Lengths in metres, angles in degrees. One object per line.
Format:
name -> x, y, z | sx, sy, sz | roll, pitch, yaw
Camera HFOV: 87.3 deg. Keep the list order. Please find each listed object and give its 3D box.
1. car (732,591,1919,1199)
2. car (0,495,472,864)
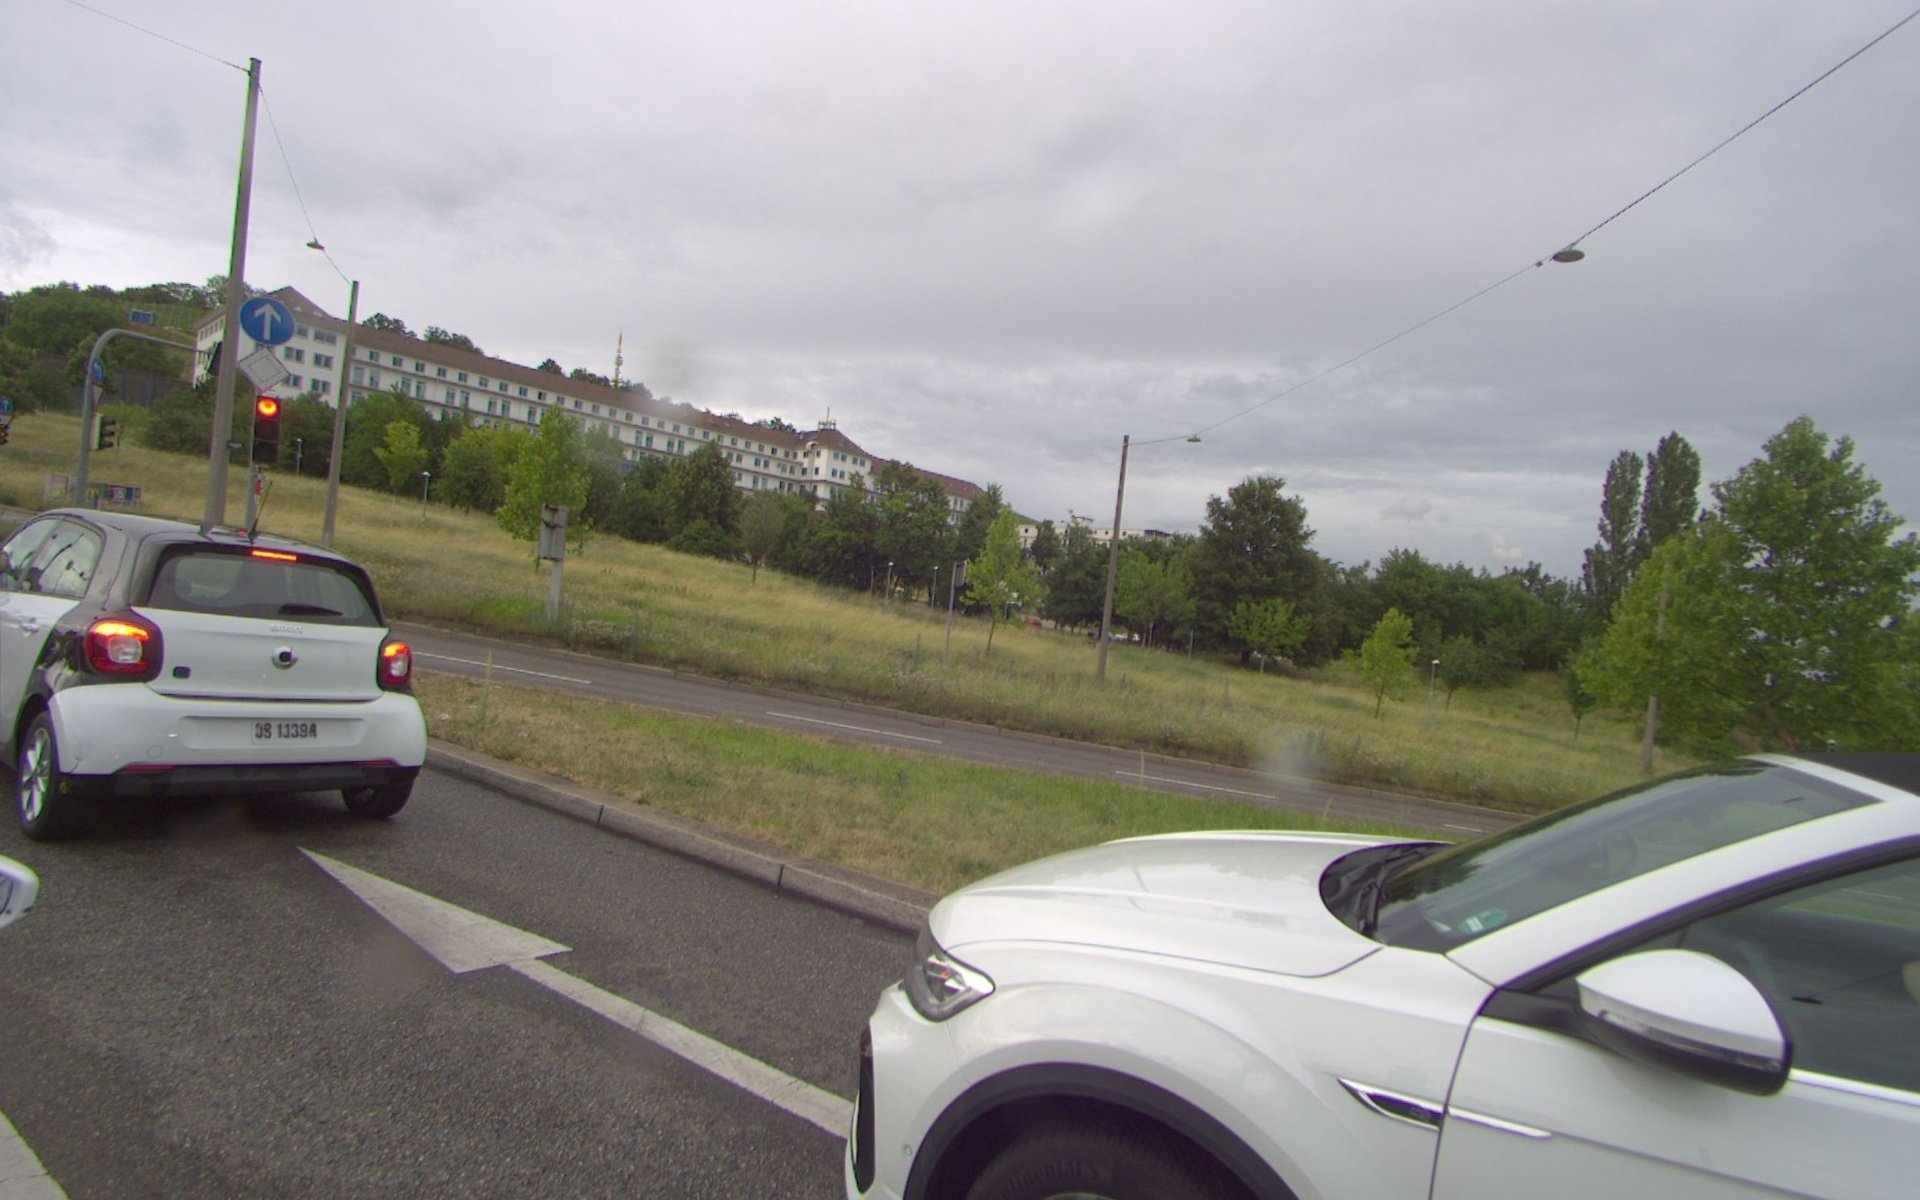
car -> 1.786, 1.025, 1.780 | 4.158, 1.571, 1.717 | 6, -2, 30
car -> -4.620, 0.295, 5.854 | 3.397, 1.520, 1.659 | 6, -2, 36
